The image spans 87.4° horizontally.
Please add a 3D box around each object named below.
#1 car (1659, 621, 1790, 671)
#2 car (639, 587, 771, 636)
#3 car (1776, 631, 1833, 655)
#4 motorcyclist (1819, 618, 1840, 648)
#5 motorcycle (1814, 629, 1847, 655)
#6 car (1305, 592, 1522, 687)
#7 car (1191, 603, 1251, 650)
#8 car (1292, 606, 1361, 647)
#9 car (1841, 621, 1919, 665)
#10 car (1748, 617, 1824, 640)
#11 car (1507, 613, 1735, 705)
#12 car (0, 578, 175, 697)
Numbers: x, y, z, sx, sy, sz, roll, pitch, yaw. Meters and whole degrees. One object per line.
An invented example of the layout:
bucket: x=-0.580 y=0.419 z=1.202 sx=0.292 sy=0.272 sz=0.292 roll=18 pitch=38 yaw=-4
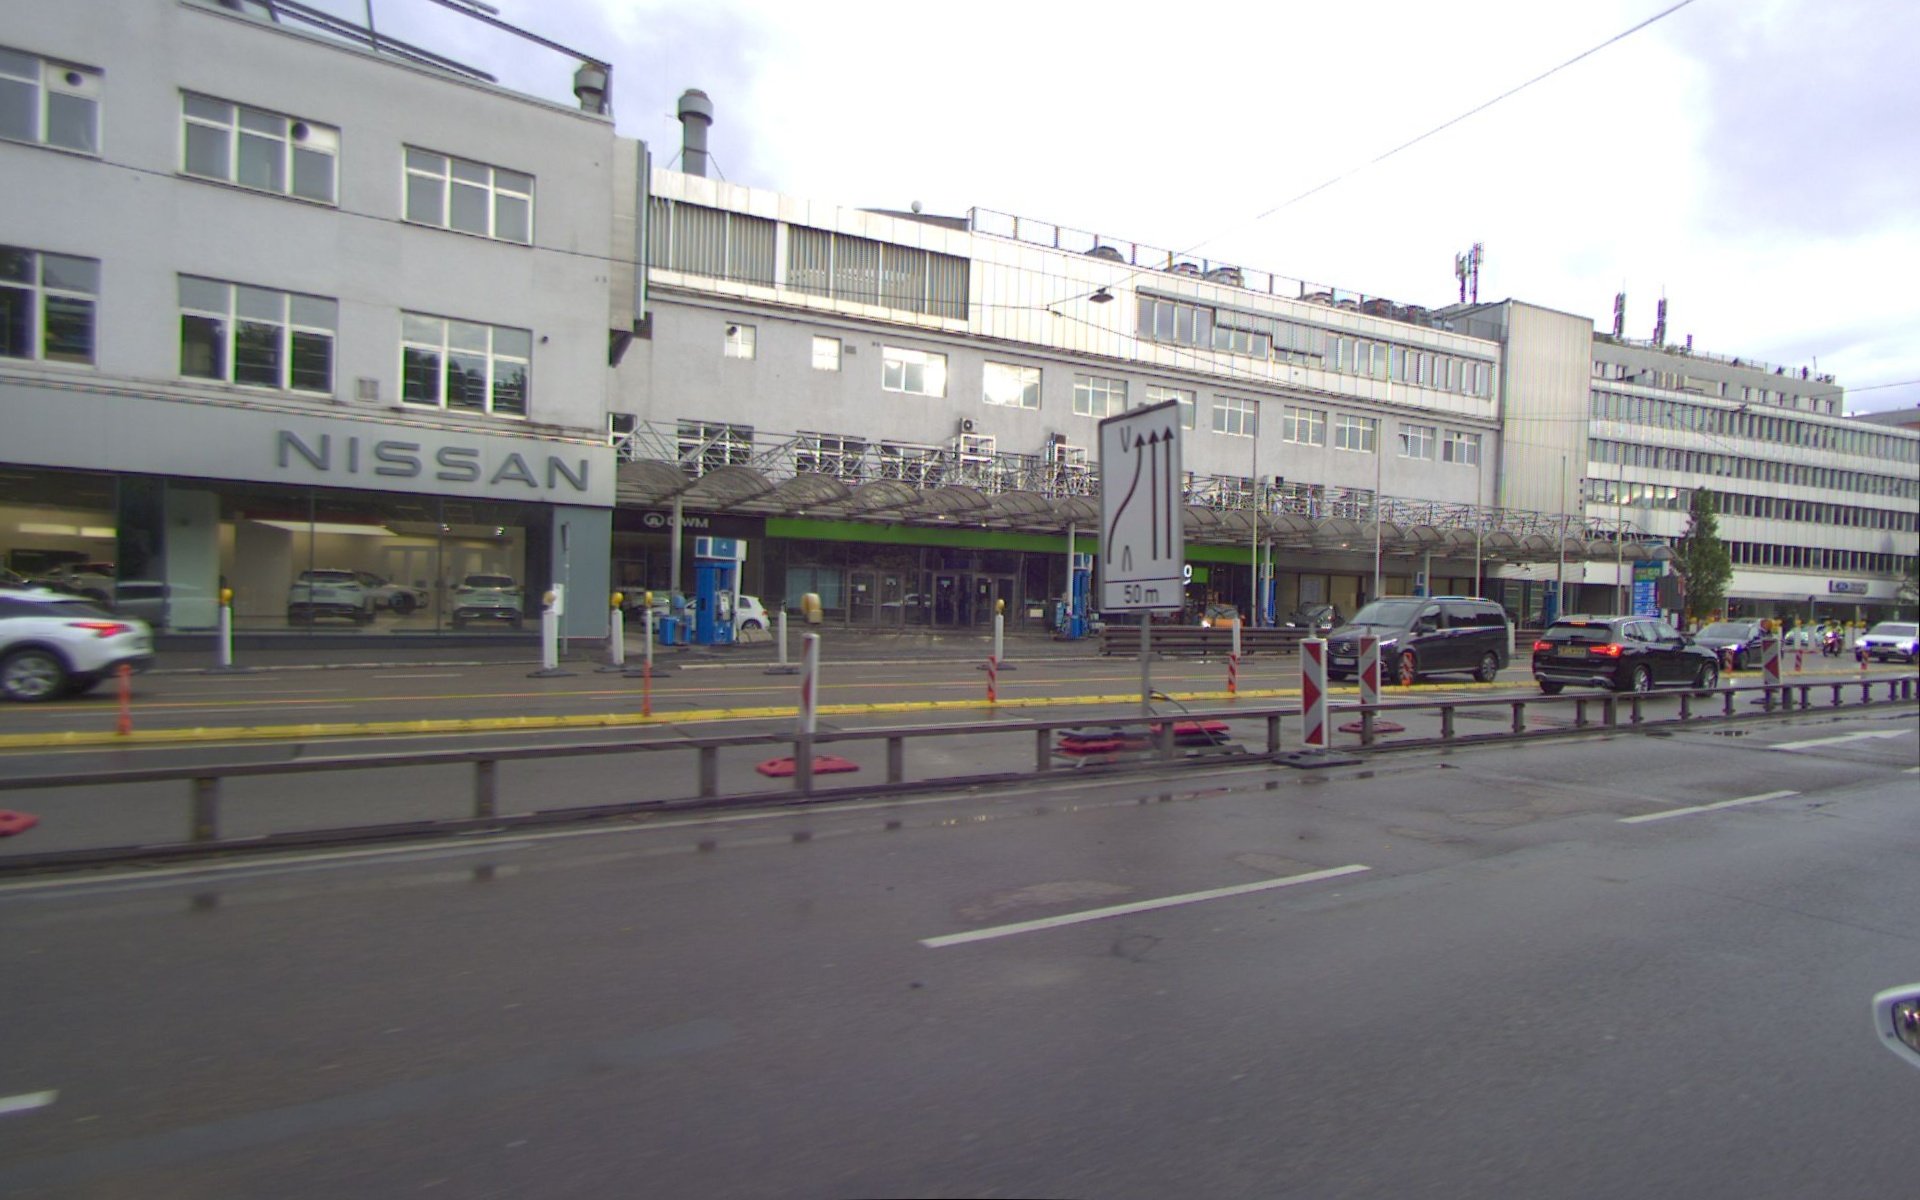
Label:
car: x=24.637 y=1.472 z=32.324 sx=4.655 sy=1.485 sz=1.841 roll=2 pitch=-1 yaw=-32
car: x=-8.524 y=0.395 z=33.625 sx=3.921 sy=1.502 sz=1.804 roll=2 pitch=-1 yaw=-30
car: x=57.325 y=2.930 z=68.198 sx=3.707 sy=1.555 sz=1.647 roll=2 pitch=-1 yaw=-27
motorcyclist: x=39.838 y=1.512 z=46.005 sx=0.555 sy=1.381 sz=0.584 roll=1 pitch=0 yaw=-32
motorcycle: x=39.901 y=1.925 z=46.041 sx=2.005 sy=1.117 sz=0.576 roll=2 pitch=-1 yaw=-32
car: x=10.425 y=0.895 z=22.976 sx=5.173 sy=1.962 sz=1.983 roll=2 pitch=-1 yaw=-32
car: x=10.682 y=1.068 z=41.385 sx=1.927 sy=1.794 sz=4.449 roll=1 pitch=-1 yaw=9
car: x=16.000 y=1.158 z=44.076 sx=1.973 sy=1.701 sz=4.483 roll=1 pitch=-1 yaw=9
car: x=38.702 y=1.782 z=41.772 sx=4.530 sy=1.712 sz=1.927 roll=2 pitch=0 yaw=-33
car: x=66.095 y=2.280 z=80.464 sx=4.302 sy=1.673 sz=1.853 roll=1 pitch=-1 yaw=24
car: x=13.813 y=1.156 z=20.957 sx=4.611 sy=1.619 sz=1.939 roll=1 pitch=3 yaw=-28
car: x=-13.427 y=0.457 z=13.301 sx=4.465 sy=1.528 sz=1.777 roll=2 pitch=-1 yaw=-28
